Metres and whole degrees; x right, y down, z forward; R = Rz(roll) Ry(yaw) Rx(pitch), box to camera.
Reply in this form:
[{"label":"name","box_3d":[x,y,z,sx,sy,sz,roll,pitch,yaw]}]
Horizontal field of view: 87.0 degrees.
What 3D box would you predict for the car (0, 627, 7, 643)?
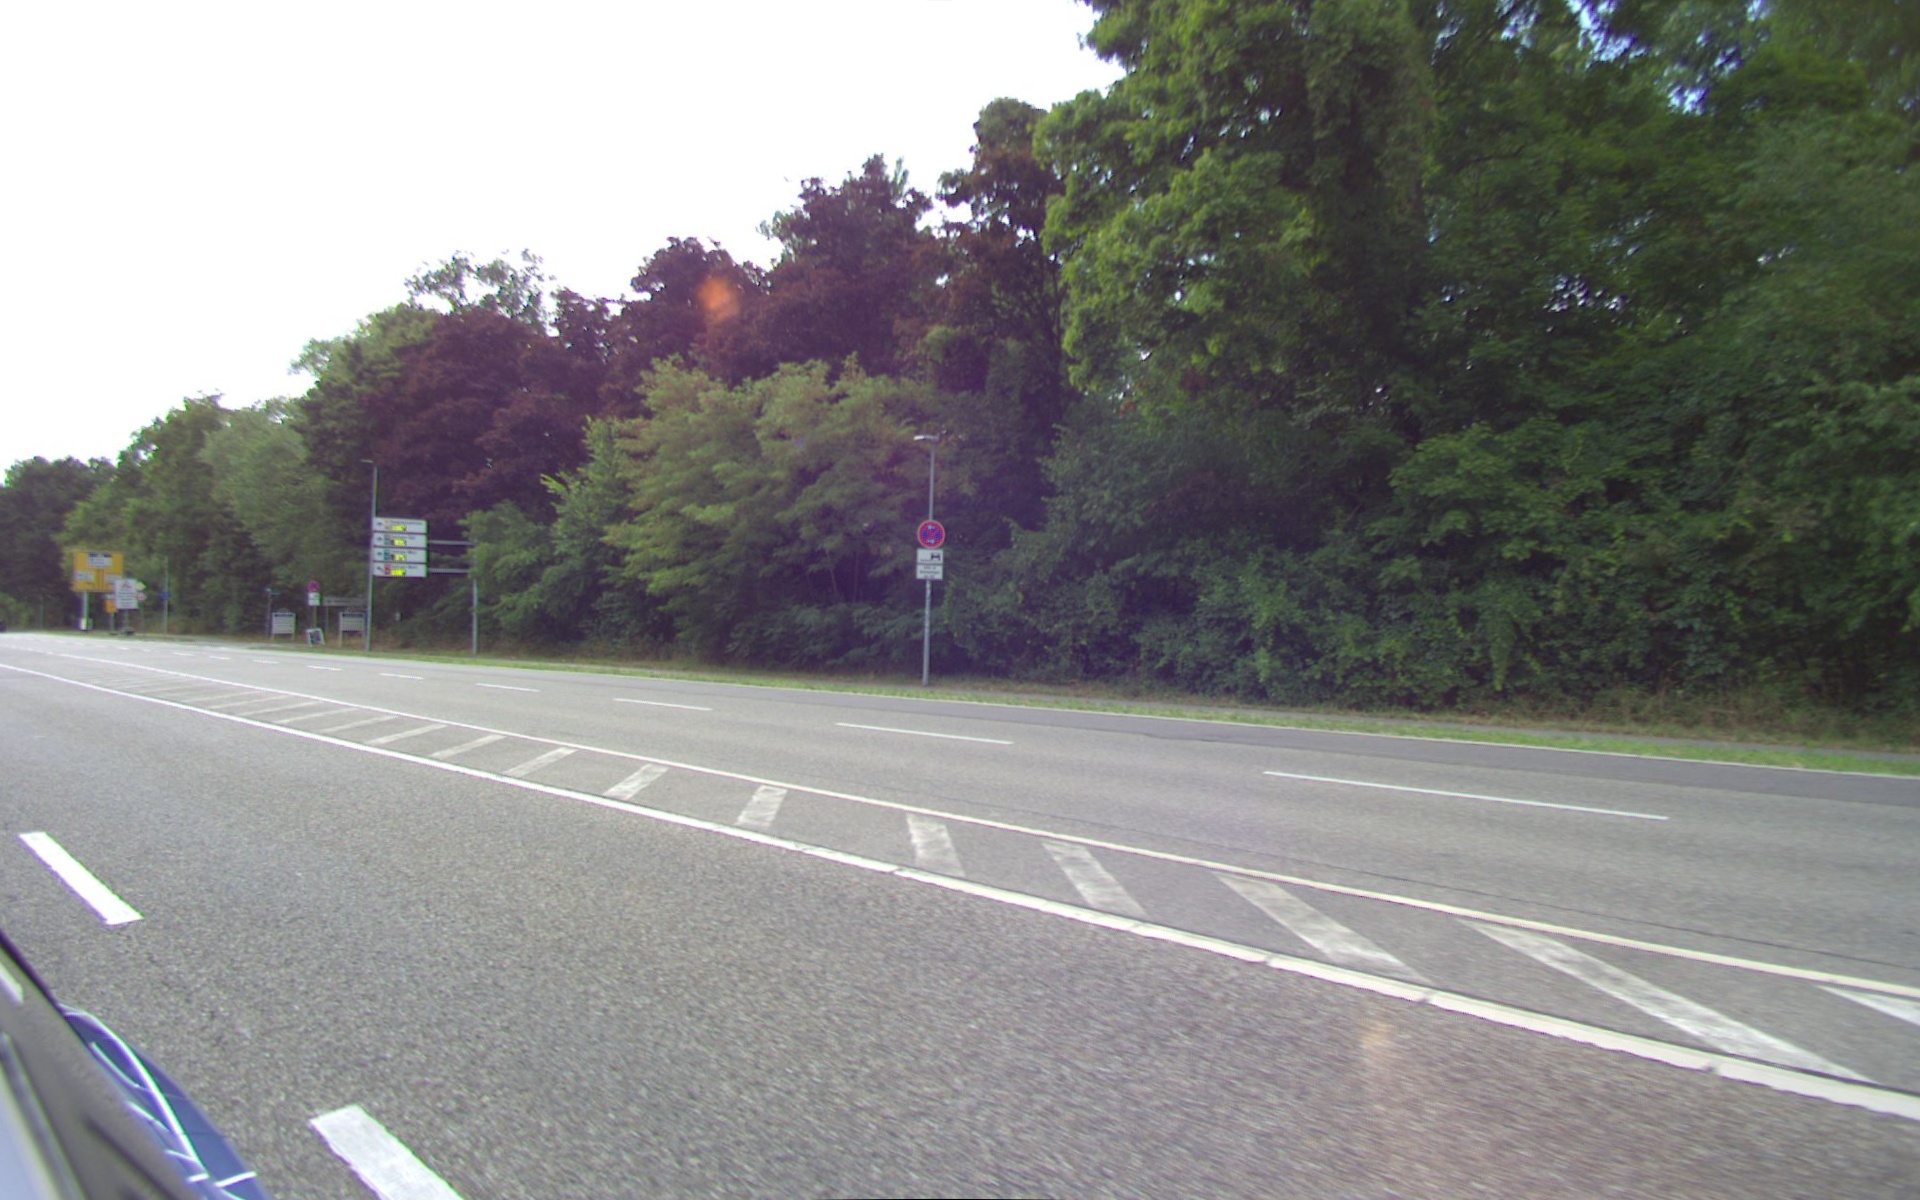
[{"label":"car","box_3d":[-91.523,3.324,95.667,3.998,1.486,1.723,0,1,42]}]
